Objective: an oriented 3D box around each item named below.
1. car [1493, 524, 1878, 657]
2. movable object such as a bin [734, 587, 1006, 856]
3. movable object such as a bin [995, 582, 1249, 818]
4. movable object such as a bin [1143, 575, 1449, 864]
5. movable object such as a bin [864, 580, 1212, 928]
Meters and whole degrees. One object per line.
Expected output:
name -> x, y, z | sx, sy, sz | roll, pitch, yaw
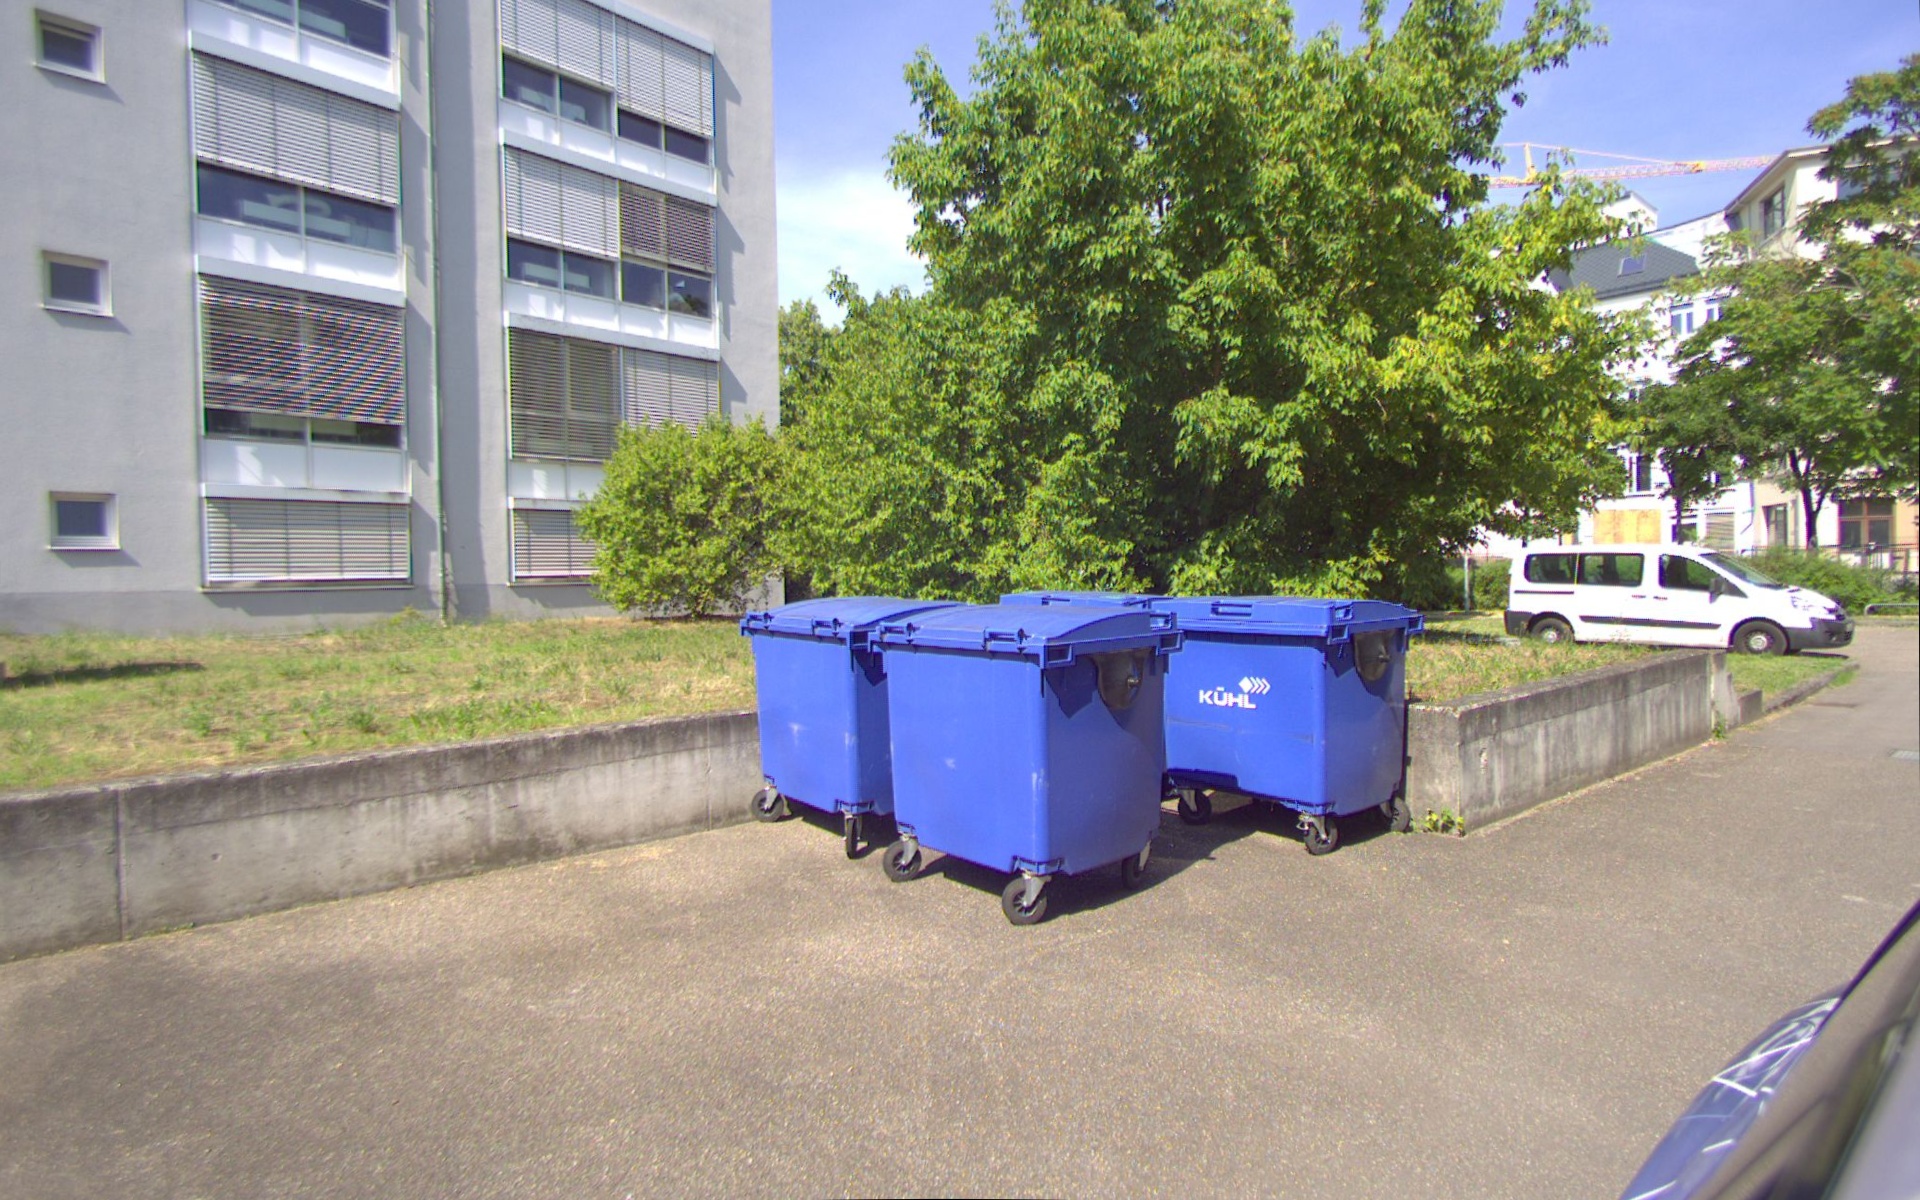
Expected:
car -> 12.211, -0.177, 17.381 | 1.964, 1.957, 5.035 | -2, 1, -39
movable object such as a bin -> -0.536, 0.617, 6.007 | 1.123, 1.353, 1.156 | -2, 2, -44
movable object such as a bin -> 1.067, 0.573, 6.785 | 1.121, 1.357, 1.250 | -2, 2, -38
movable object such as a bin -> 1.891, 0.567, 5.764 | 1.122, 1.335, 1.250 | -4, 5, -39
movable object such as a bin -> 0.367, 0.601, 4.887 | 1.110, 1.372, 1.248 | -2, 2, -44
